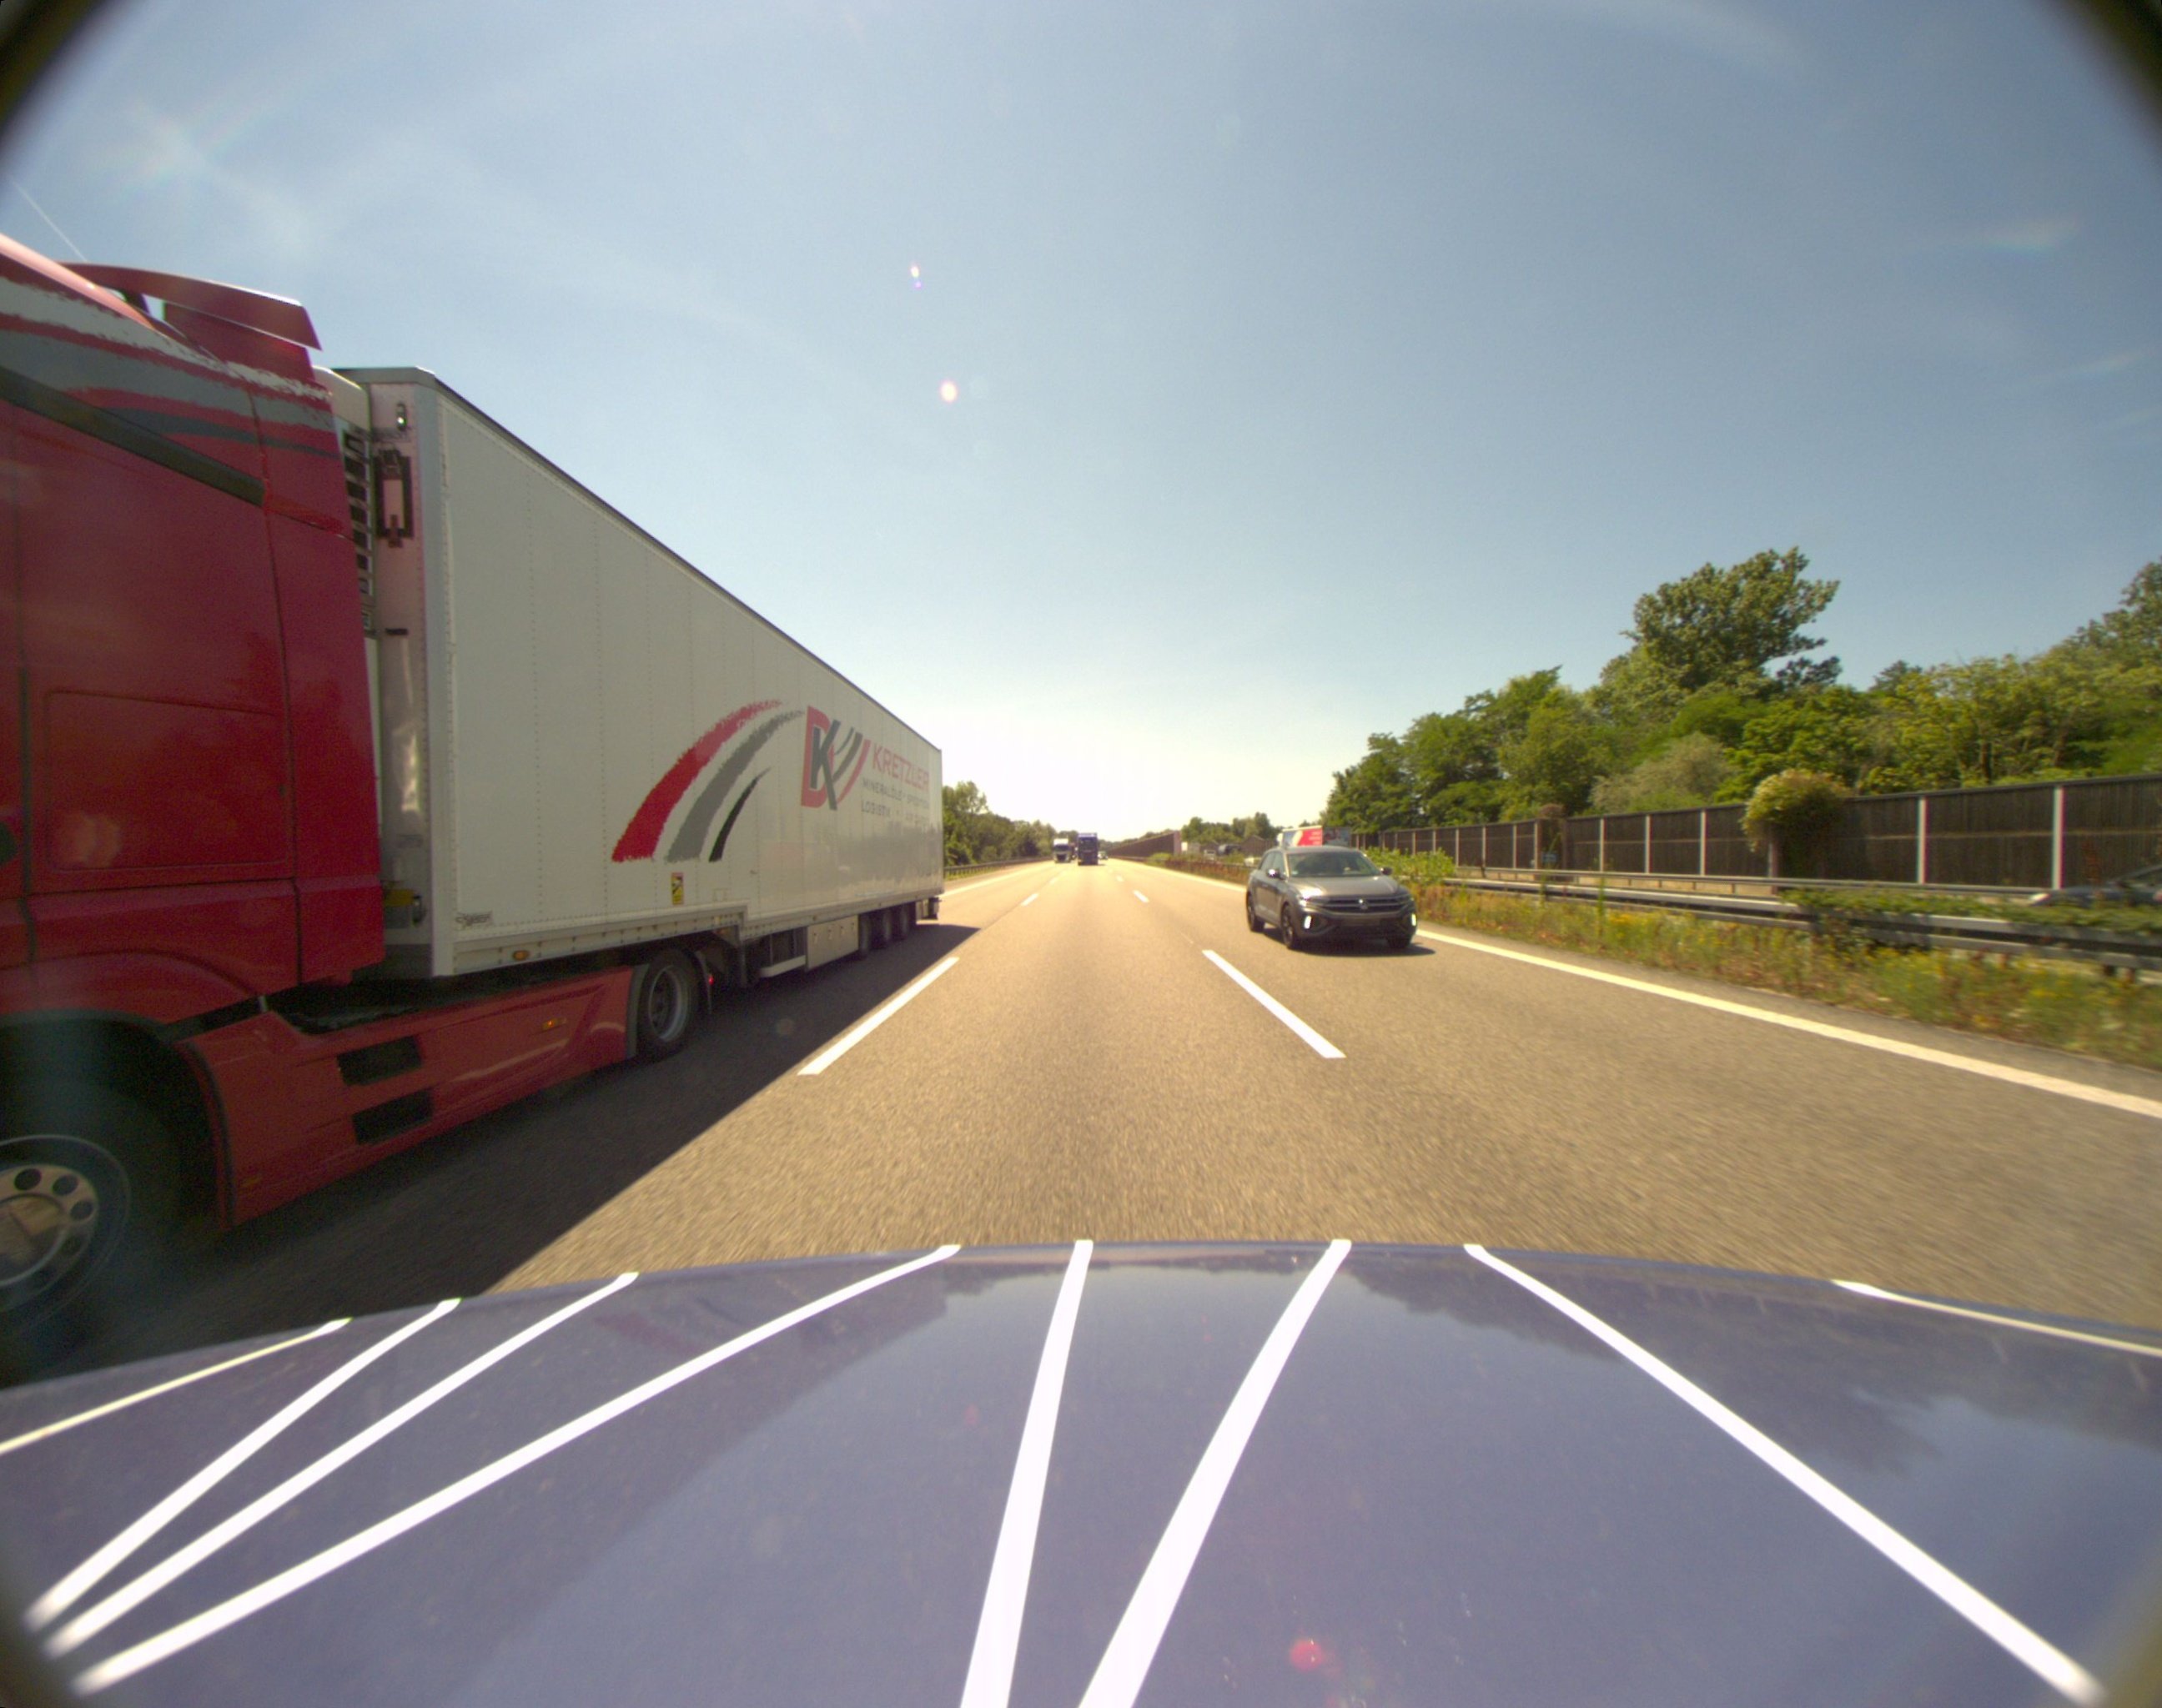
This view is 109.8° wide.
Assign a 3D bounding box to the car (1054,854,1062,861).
[{"bbox_3d":[-6.064,0.916,197.989,1.935,1.805,4.000,-1,0,-1],"label":"car"}]

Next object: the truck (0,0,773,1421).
[{"bbox_3d":[-4.821,-0.719,4.082,3.242,4.860,6.972,-1,0,1],"label":"truck"}]

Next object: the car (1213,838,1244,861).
[{"bbox_3d":[18.328,-0.599,94.621,2.321,2.548,7.583,-5,0,1],"label":"car"}]

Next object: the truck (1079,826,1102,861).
[{"bbox_3d":[1.108,-1.251,94.326,2.707,4.093,6.990,-1,0,0],"label":"truck"}]

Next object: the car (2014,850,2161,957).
[{"bbox_3d":[17.170,0.751,10.921,1.998,1.587,4.506,0,1,1],"label":"car"}]

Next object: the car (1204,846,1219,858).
[{"bbox_3d":[22.999,-0.389,133.877,1.894,2.075,4.766,-1,0,1],"label":"car"}]

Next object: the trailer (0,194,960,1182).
[{"bbox_3d":[-4.685,-0.771,10.772,3.277,4.809,14.030,-1,0,1],"label":"trailer"}]

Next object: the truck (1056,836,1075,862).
[{"bbox_3d":[-2.560,-0.822,129.154,2.820,4.139,10.448,-1,0,0],"label":"truck"}]

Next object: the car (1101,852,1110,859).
[{"bbox_3d":[5.378,0.382,166.454,2.045,1.559,4.000,-1,0,1],"label":"car"}]

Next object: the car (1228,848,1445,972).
[{"bbox_3d":[3.912,0.763,12.696,1.885,1.630,5.008,-1,0,-1],"label":"car"}]

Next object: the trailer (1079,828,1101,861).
[{"bbox_3d":[1.156,-1.202,101.770,2.707,4.093,12.131,-1,0,1],"label":"trailer"}]

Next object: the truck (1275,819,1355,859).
[{"bbox_3d":[22.334,-1.282,73.909,2.845,3.322,17.005,-1,0,1],"label":"truck"}]
